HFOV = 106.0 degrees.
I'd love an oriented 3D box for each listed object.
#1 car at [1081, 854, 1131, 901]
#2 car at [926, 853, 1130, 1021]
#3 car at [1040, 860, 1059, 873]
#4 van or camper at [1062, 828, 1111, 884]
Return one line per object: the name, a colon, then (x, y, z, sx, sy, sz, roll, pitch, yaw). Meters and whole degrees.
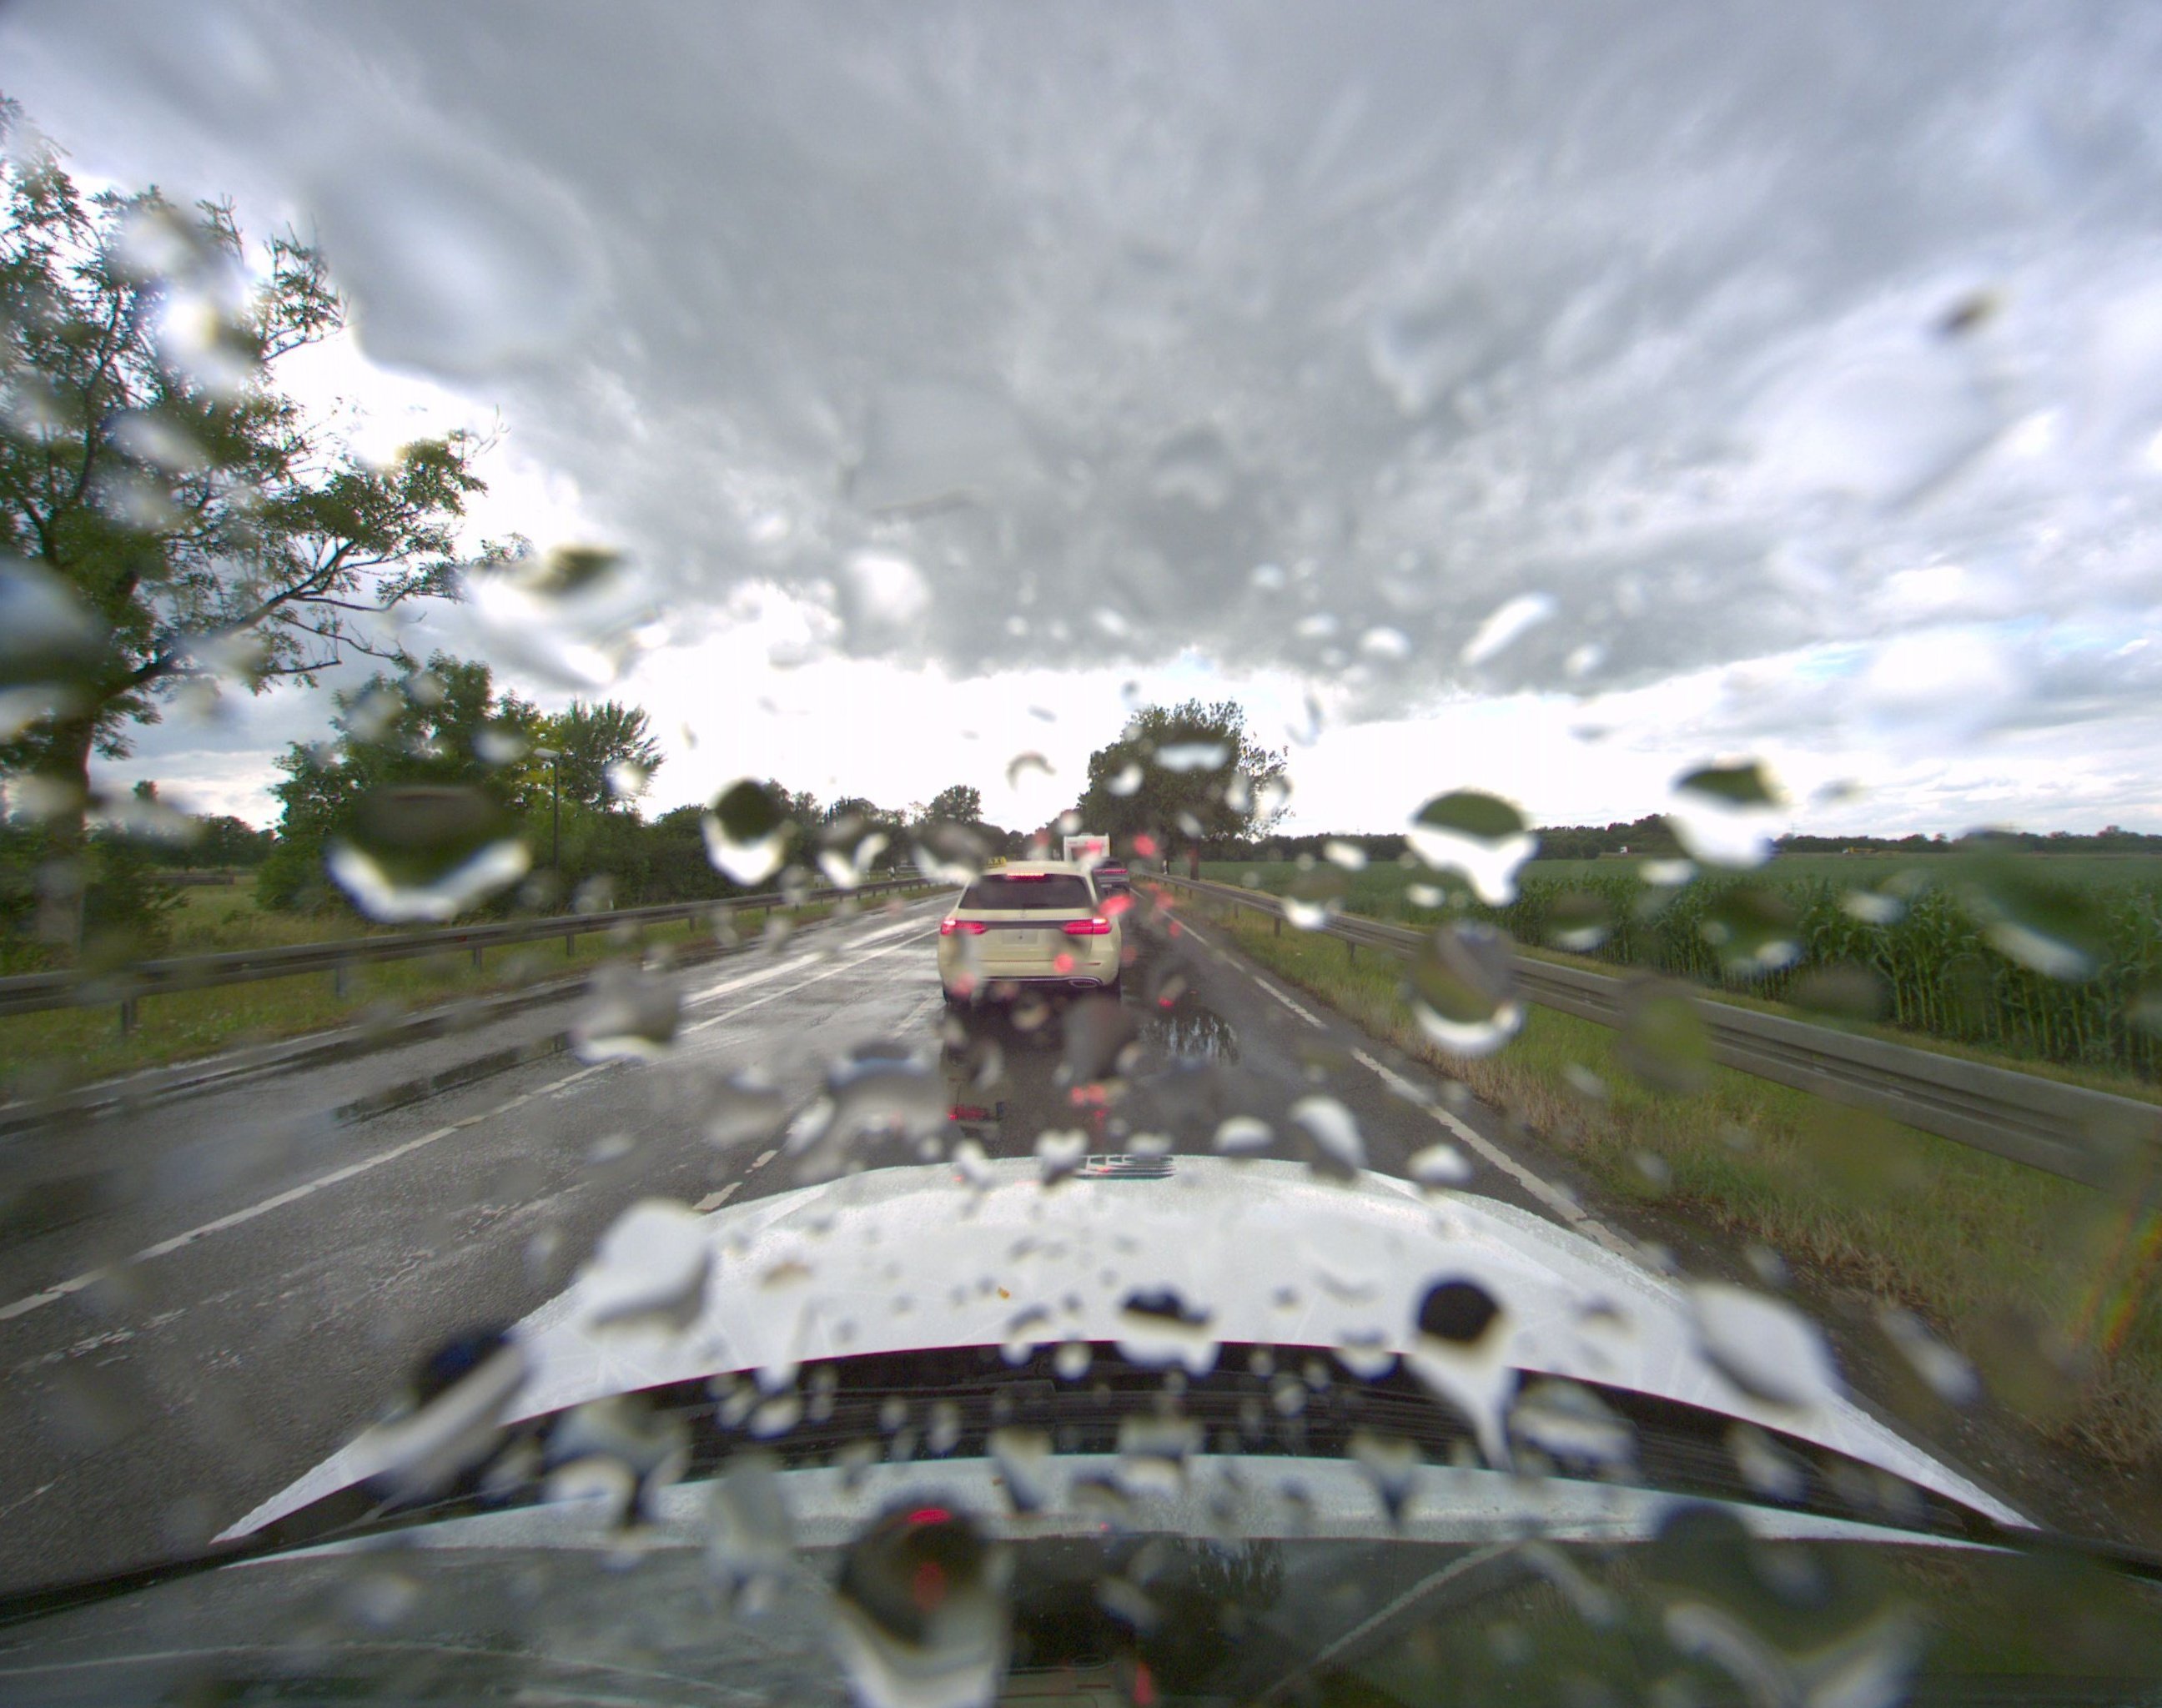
car: (0.870, 0.785, 28.791, 1.621, 1.529, 3.933, -1, 0, 1)
car: (-0.391, 0.761, 9.449, 1.818, 1.485, 4.147, -1, 0, 2)
car: (-3.305, 1.317, 86.349, 1.752, 1.269, 4.001, -1, 0, 1)
van or camper: (0.339, 0.090, 42.648, 2.342, 2.680, 5.770, 0, 0, 1)
